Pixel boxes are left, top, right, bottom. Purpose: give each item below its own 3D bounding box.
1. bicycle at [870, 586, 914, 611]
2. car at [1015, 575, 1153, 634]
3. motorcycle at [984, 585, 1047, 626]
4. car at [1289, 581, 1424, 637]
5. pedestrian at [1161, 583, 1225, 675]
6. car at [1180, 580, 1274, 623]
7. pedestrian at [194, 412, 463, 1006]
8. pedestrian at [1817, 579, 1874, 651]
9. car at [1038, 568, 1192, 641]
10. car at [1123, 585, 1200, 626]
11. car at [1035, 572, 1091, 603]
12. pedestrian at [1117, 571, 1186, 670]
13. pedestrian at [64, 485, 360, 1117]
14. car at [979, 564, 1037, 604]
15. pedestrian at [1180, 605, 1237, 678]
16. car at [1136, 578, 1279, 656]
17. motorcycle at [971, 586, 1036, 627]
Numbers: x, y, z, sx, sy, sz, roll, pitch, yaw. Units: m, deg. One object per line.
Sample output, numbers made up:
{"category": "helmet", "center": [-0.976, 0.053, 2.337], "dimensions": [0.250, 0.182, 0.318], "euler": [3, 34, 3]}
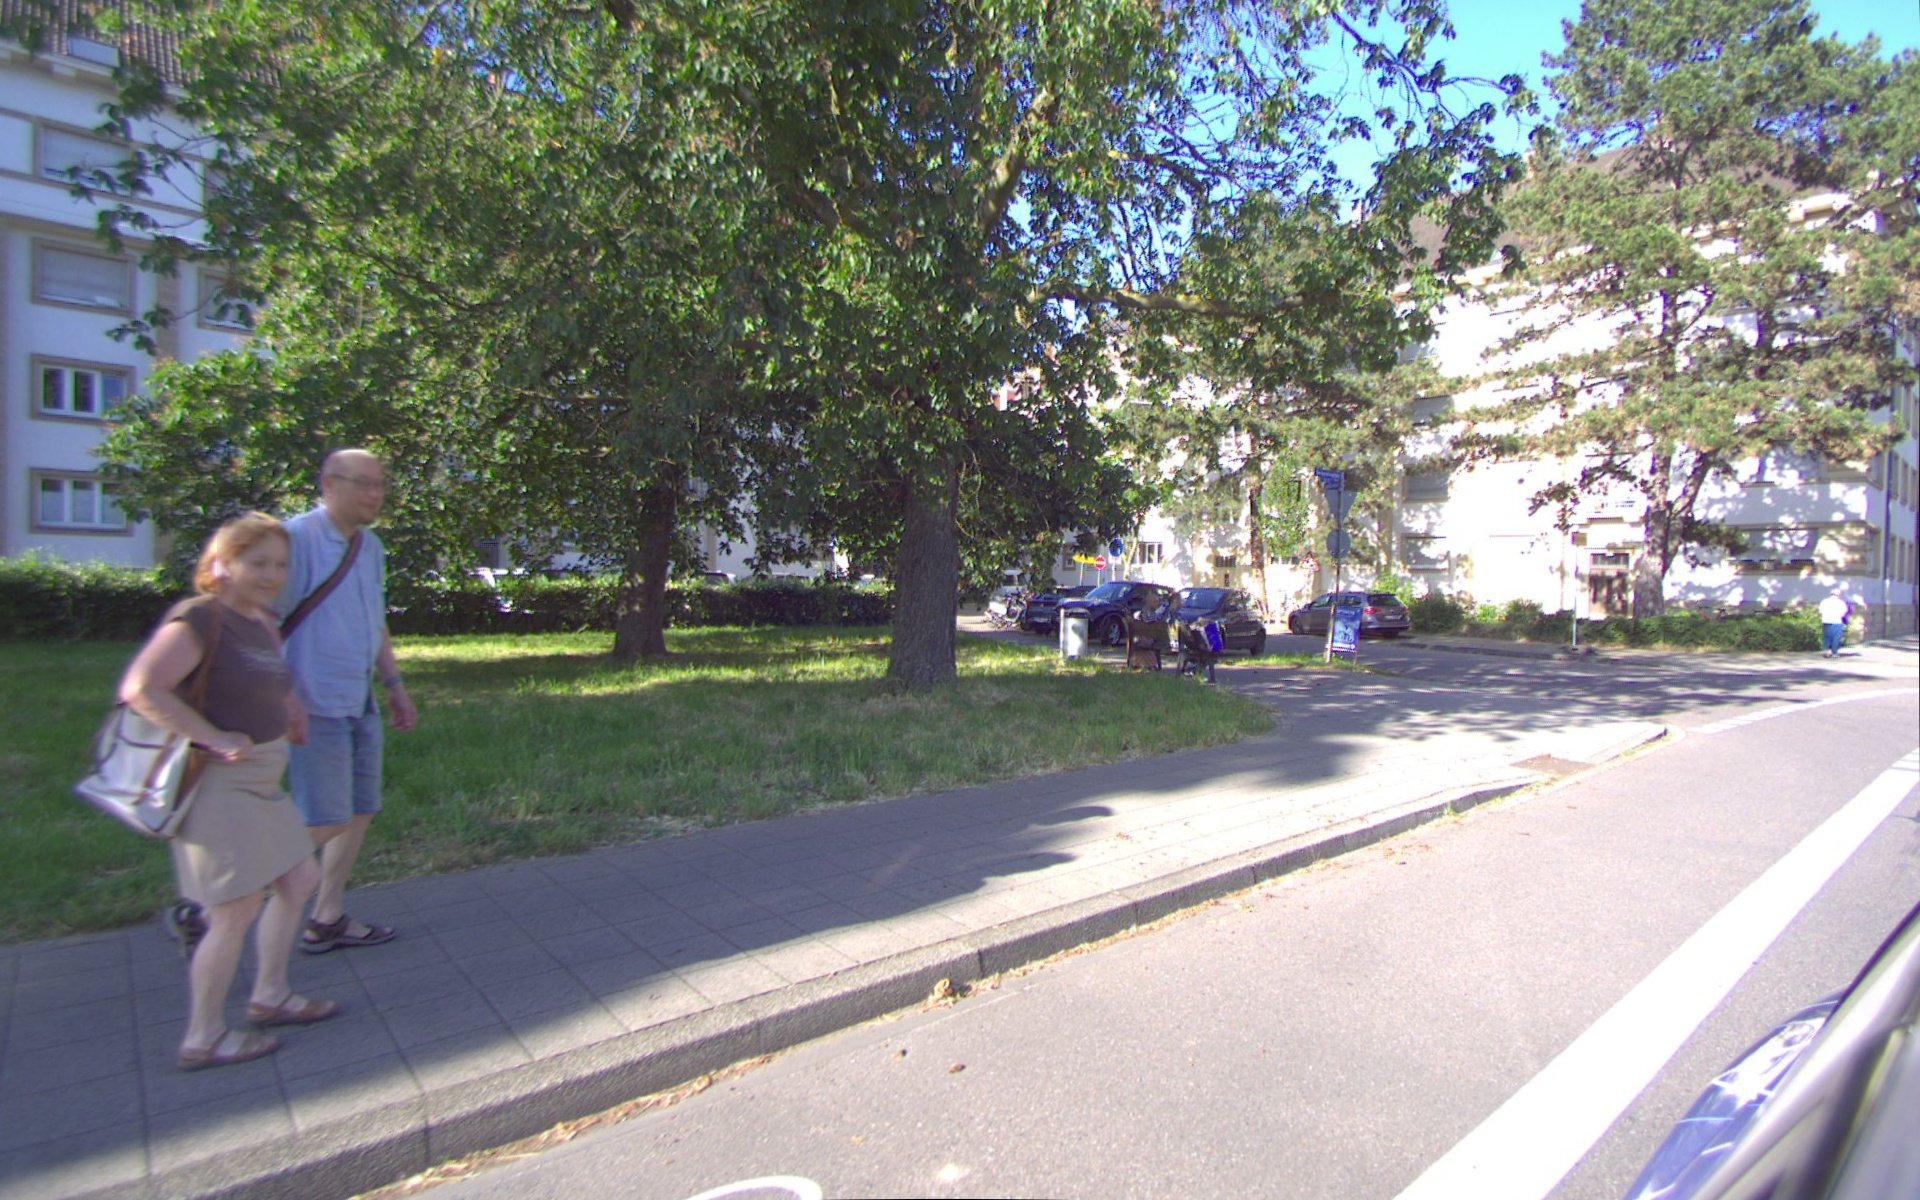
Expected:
{"category": "bicycle", "center": [-3.243, -0.074, 48.210], "dimensions": [2.019, 1.204, 0.598], "euler": [0, -1, -25]}
{"category": "car", "center": [3.501, 0.100, 28.068], "dimensions": [1.636, 1.458, 4.175], "euler": [3, 2, 43]}
{"category": "motorcycle", "center": [1.674, 0.163, 30.673], "dimensions": [1.772, 1.085, 0.705], "euler": [5, 2, 33]}
{"category": "car", "center": [12.595, 0.215, 32.448], "dimensions": [1.732, 1.519, 4.316], "euler": [-2, 3, -17]}
{"category": "pedestrian", "center": [3.231, 0.394, 14.047], "dimensions": [0.745, 1.242, 0.405], "euler": [0, -1, -14]}
{"category": "car", "center": [10.508, 0.038, 40.139], "dimensions": [1.732, 1.487, 3.922], "euler": [1, 2, -17]}
{"category": "pedestrian", "center": [-2.215, 0.322, 3.553], "dimensions": [0.681, 1.811, 0.705], "euler": [2, 2, -35]}
{"category": "pedestrian", "center": [22.212, 0.368, 25.394], "dimensions": [0.711, 1.743, 0.883], "euler": [1, 1, -35]}
{"category": "car", "center": [3.763, 0.098, 24.312], "dimensions": [3.738, 1.592, 1.456], "euler": [1, 2, -38]}
{"category": "car", "center": [8.999, 0.220, 45.499], "dimensions": [1.732, 1.733, 3.920], "euler": [1, 0, -17]}
{"category": "car", "center": [5.853, -0.696, 57.959], "dimensions": [1.762, 1.632, 4.007], "euler": [0, -1, -18]}
{"category": "pedestrian", "center": [2.777, 0.289, 14.699], "dimensions": [0.739, 1.391, 0.688], "euler": [0, -1, -14]}
{"category": "pedestrian", "center": [-2.082, 0.482, 2.859], "dimensions": [0.615, 1.547, 0.531], "euler": [0, 2, -35]}
{"category": "car", "center": [3.132, -1.022, 67.226], "dimensions": [2.081, 2.474, 5.328], "euler": [0, -1, -18]}
{"category": "pedestrian", "center": [3.346, 0.554, 13.612], "dimensions": [0.610, 0.946, 0.405], "euler": [2, -2, -14]}
{"category": "car", "center": [5.477, 0.324, 22.116], "dimensions": [1.632, 1.513, 3.757], "euler": [3, 2, 37]}
{"category": "motorcycle", "center": [1.285, 0.178, 29.862], "dimensions": [1.772, 1.085, 0.705], "euler": [5, 2, 33]}
